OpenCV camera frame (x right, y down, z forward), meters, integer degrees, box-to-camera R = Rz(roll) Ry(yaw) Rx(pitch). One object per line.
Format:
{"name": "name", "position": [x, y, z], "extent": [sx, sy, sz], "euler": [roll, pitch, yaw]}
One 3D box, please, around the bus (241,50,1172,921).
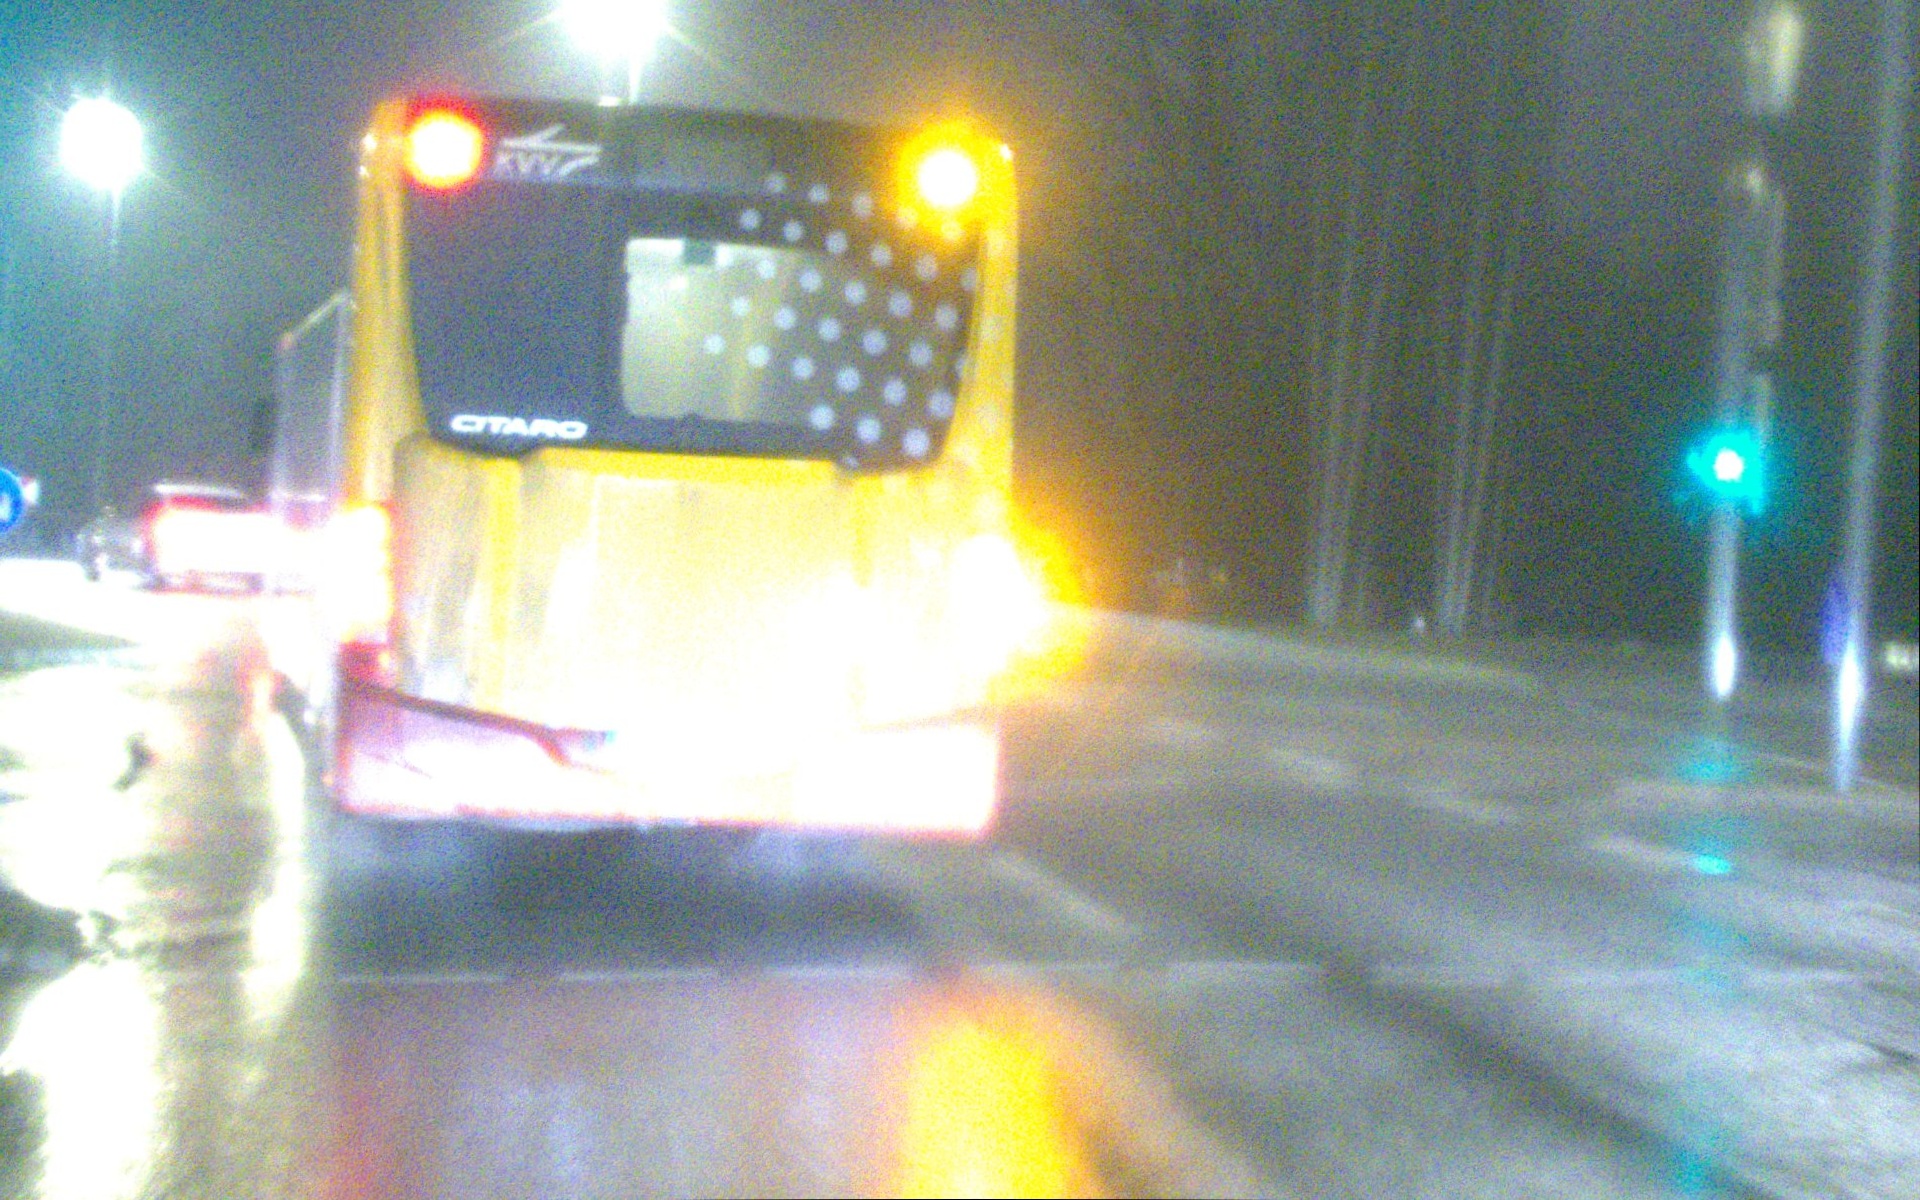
{"name": "bus", "position": [-1.704, -0.472, 16.979], "extent": [3.284, 3.040, 9.546], "euler": [1, 1, -10]}

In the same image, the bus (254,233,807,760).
{"name": "bus", "position": [-3.559, -0.805, 25.977], "extent": [3.246, 3.109, 8.648], "euler": [4, 2, -12]}

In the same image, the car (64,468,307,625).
{"name": "car", "position": [-10.892, -0.768, 48.127], "extent": [1.993, 2.007, 4.349], "euler": [3, 0, -30]}
